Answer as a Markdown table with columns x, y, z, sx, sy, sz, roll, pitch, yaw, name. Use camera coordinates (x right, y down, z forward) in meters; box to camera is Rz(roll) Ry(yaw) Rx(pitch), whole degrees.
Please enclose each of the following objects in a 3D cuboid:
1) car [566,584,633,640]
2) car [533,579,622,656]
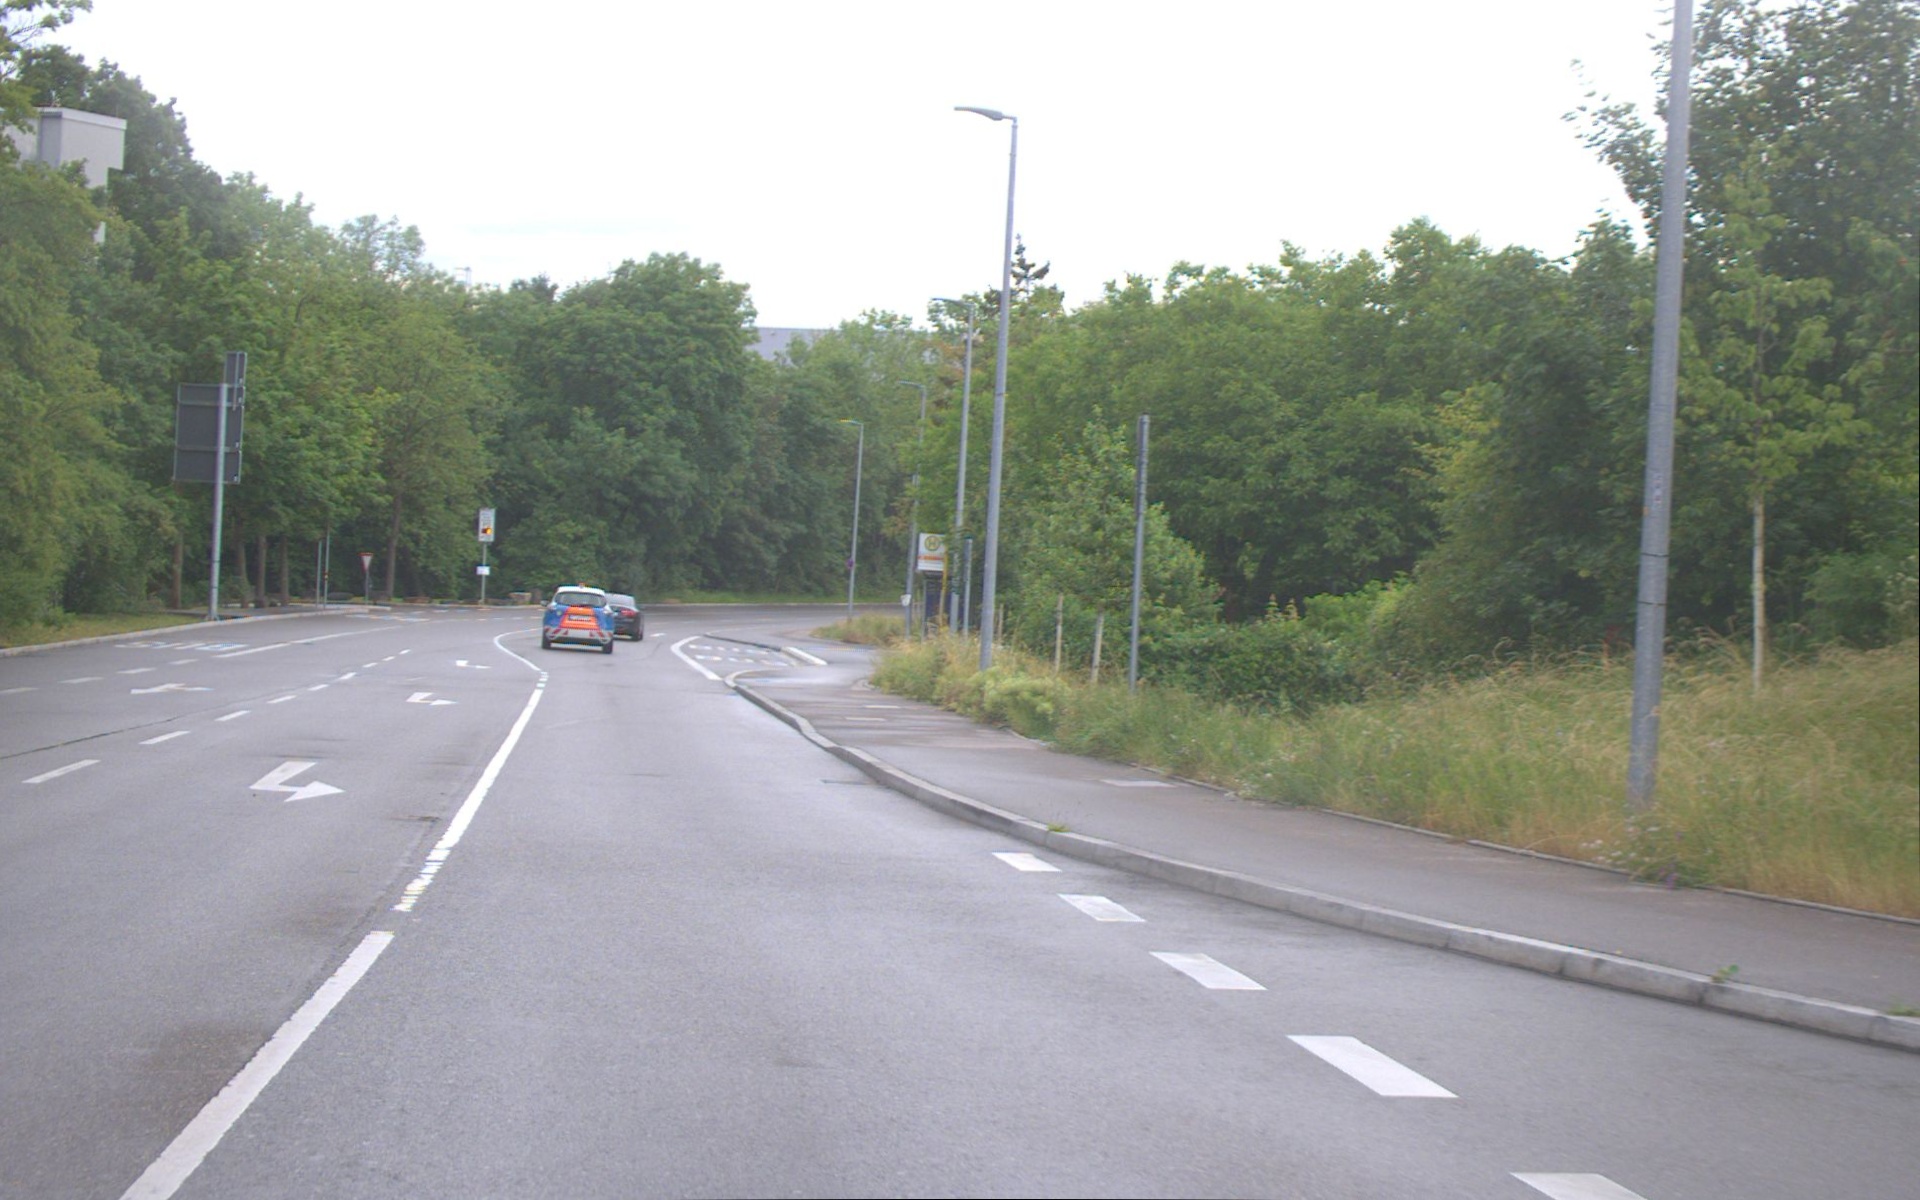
| x | y | z | sx | sy | sz | roll | pitch | yaw | name |
| --- | --- | --- | --- | --- | --- | --- | --- | --- | --- |
| -10.857 | 0.333 | 103.671 | 1.927 | 1.481 | 3.800 | 2 | 2 | -6 | car |
| -9.369 | 0.411 | 84.452 | 1.993 | 1.683 | 4.001 | 2 | 2 | -5 | car |
